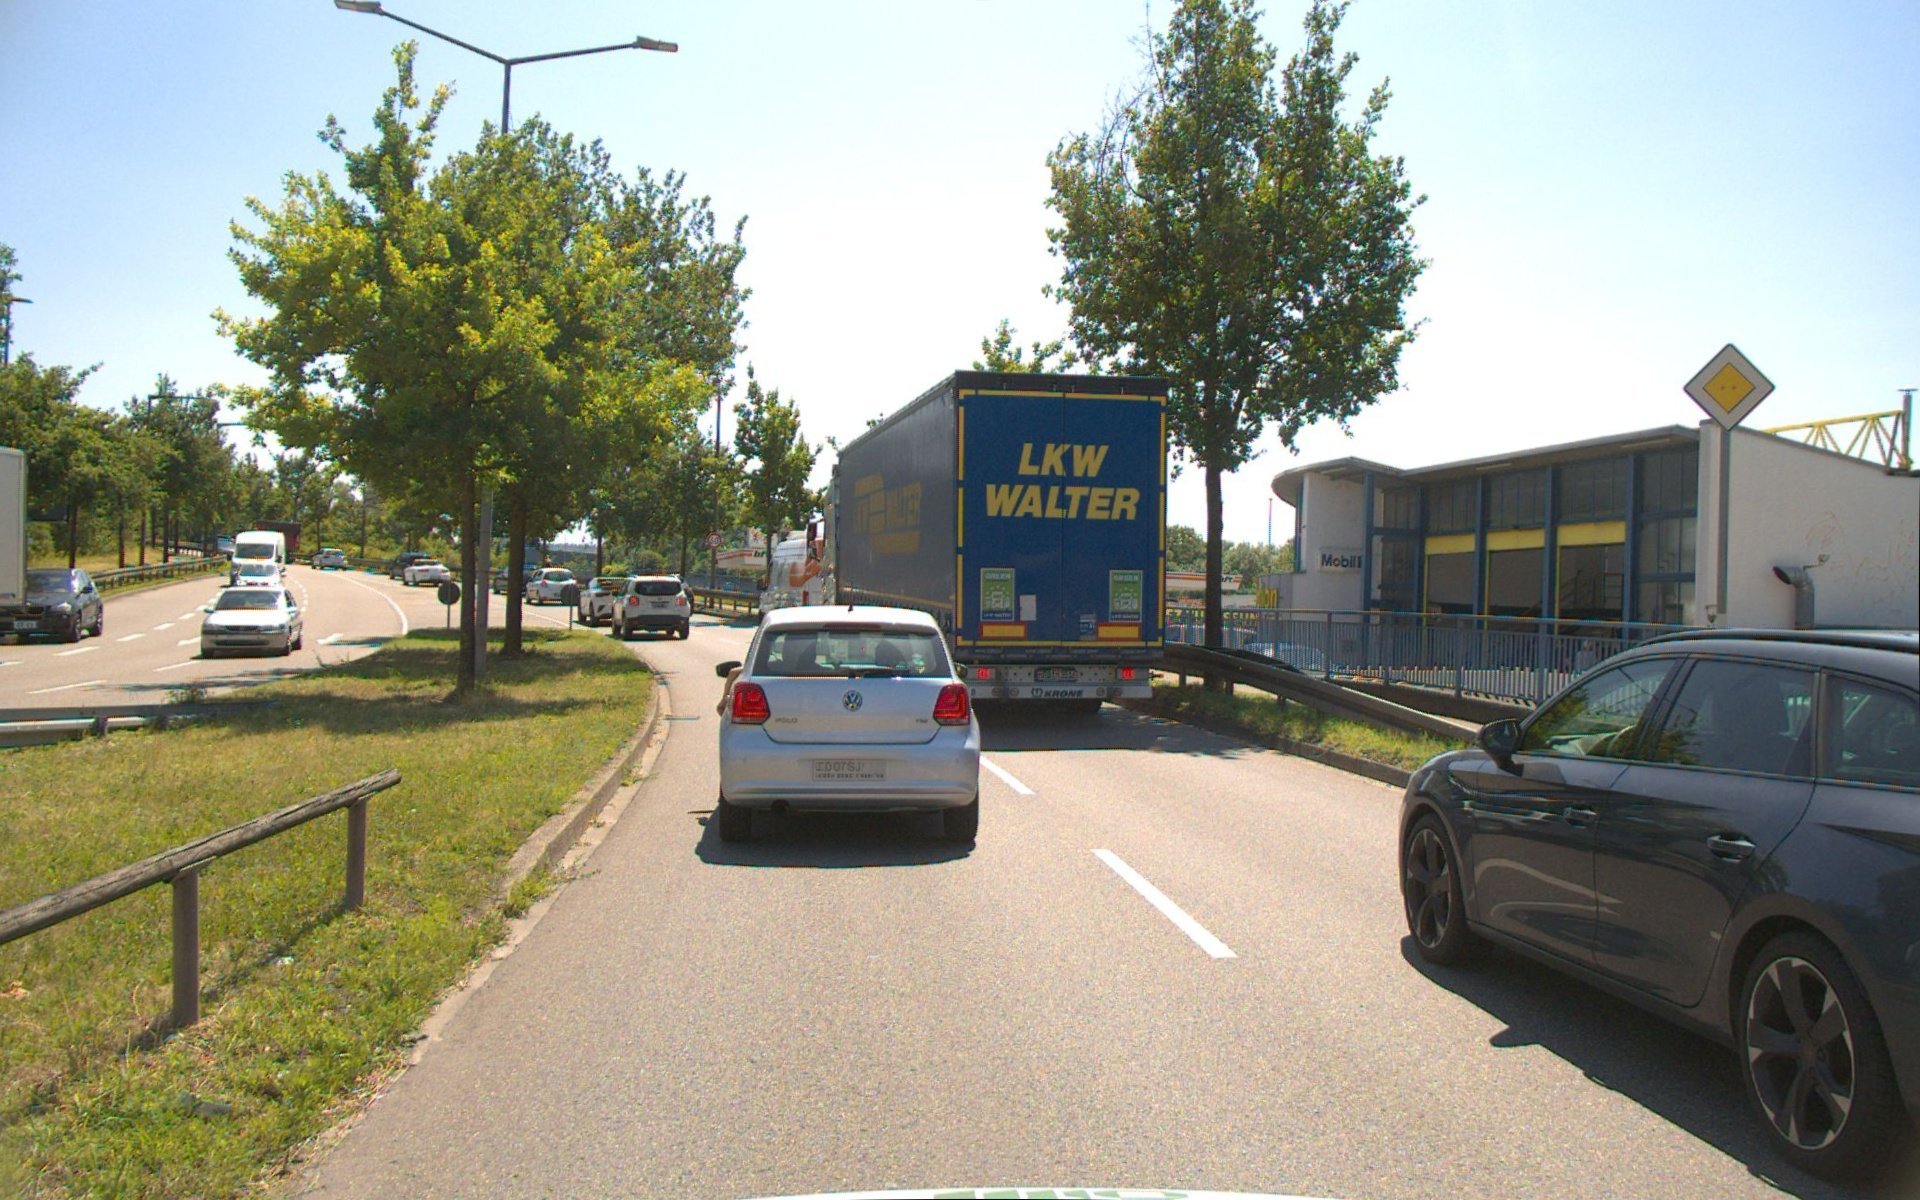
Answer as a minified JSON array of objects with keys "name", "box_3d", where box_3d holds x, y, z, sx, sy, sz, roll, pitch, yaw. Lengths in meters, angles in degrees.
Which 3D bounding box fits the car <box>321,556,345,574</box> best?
[{"name":"car","box_3d":[-43.892,-2.414,115.727,1.305,1.158,2.970,1,-1,-26]}]

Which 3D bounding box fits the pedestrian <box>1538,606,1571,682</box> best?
[{"name":"pedestrian","box_3d":[13.688,1.003,38.097,0.512,1.732,0.487,1,-1,-13]}]

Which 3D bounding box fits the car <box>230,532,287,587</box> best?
[{"name":"car","box_3d":[-33.463,-1.953,79.034,2.062,2.544,5.779,0,2,-19]}]

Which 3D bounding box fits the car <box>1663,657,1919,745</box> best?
[{"name":"car","box_3d":[15.746,1.834,30.591,4.967,1.381,1.998,1,-1,26]}]

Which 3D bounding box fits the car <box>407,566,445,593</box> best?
[{"name":"car","box_3d":[-28.432,-1.069,88.047,1.438,1.337,3.608,1,-1,-25]}]

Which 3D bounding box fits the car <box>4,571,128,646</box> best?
[{"name":"car","box_3d":[-21.440,0.202,39.833,1.463,1.661,4.457,1,0,-13]}]

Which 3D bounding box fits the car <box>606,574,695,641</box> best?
[{"name":"car","box_3d":[-8.673,0.213,46.096,1.874,1.748,4.201,1,-1,-18]}]

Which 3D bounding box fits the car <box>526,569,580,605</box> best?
[{"name":"car","box_3d":[-16.747,-0.540,67.984,1.586,1.383,3.637,1,0,-22]}]

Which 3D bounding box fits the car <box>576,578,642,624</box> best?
[{"name":"car","box_3d":[-11.298,0.020,53.099,1.474,1.383,3.638,1,0,-22]}]

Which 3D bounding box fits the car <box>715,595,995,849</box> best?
[{"name":"car","box_3d":[-0.708,0.730,11.481,1.613,1.464,3.534,1,0,-3]}]

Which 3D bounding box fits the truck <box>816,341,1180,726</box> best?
[{"name":"truck","box_3d":[-0.246,-0.790,26.817,2.781,4.271,16.437,1,0,-10]}]

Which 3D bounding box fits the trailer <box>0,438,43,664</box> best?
[{"name":"trailer","box_3d":[-19.532,-0.833,25.227,2.948,4.120,12.714,1,1,6]}]

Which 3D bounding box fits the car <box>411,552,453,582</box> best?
[{"name":"car","box_3d":[-28.175,-1.741,88.195,1.644,1.490,3.552,1,-1,-25]}]

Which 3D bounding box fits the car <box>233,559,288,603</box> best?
[{"name":"car","box_3d":[-26.499,-0.683,62.753,1.609,1.594,4.051,0,0,-18]}]

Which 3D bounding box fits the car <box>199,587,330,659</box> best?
[{"name":"car","box_3d":[-14.709,0.465,35.178,1.604,1.427,4.212,0,0,-9]}]

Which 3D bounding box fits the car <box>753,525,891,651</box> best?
[{"name":"car","box_3d":[-3.666,-0.365,42.474,2.141,2.951,6.328,2,1,-17]}]

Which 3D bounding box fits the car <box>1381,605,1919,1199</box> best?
[{"name":"car","box_3d":[2.958,0.777,5.550,1.574,1.481,4.229,1,0,-7]}]
